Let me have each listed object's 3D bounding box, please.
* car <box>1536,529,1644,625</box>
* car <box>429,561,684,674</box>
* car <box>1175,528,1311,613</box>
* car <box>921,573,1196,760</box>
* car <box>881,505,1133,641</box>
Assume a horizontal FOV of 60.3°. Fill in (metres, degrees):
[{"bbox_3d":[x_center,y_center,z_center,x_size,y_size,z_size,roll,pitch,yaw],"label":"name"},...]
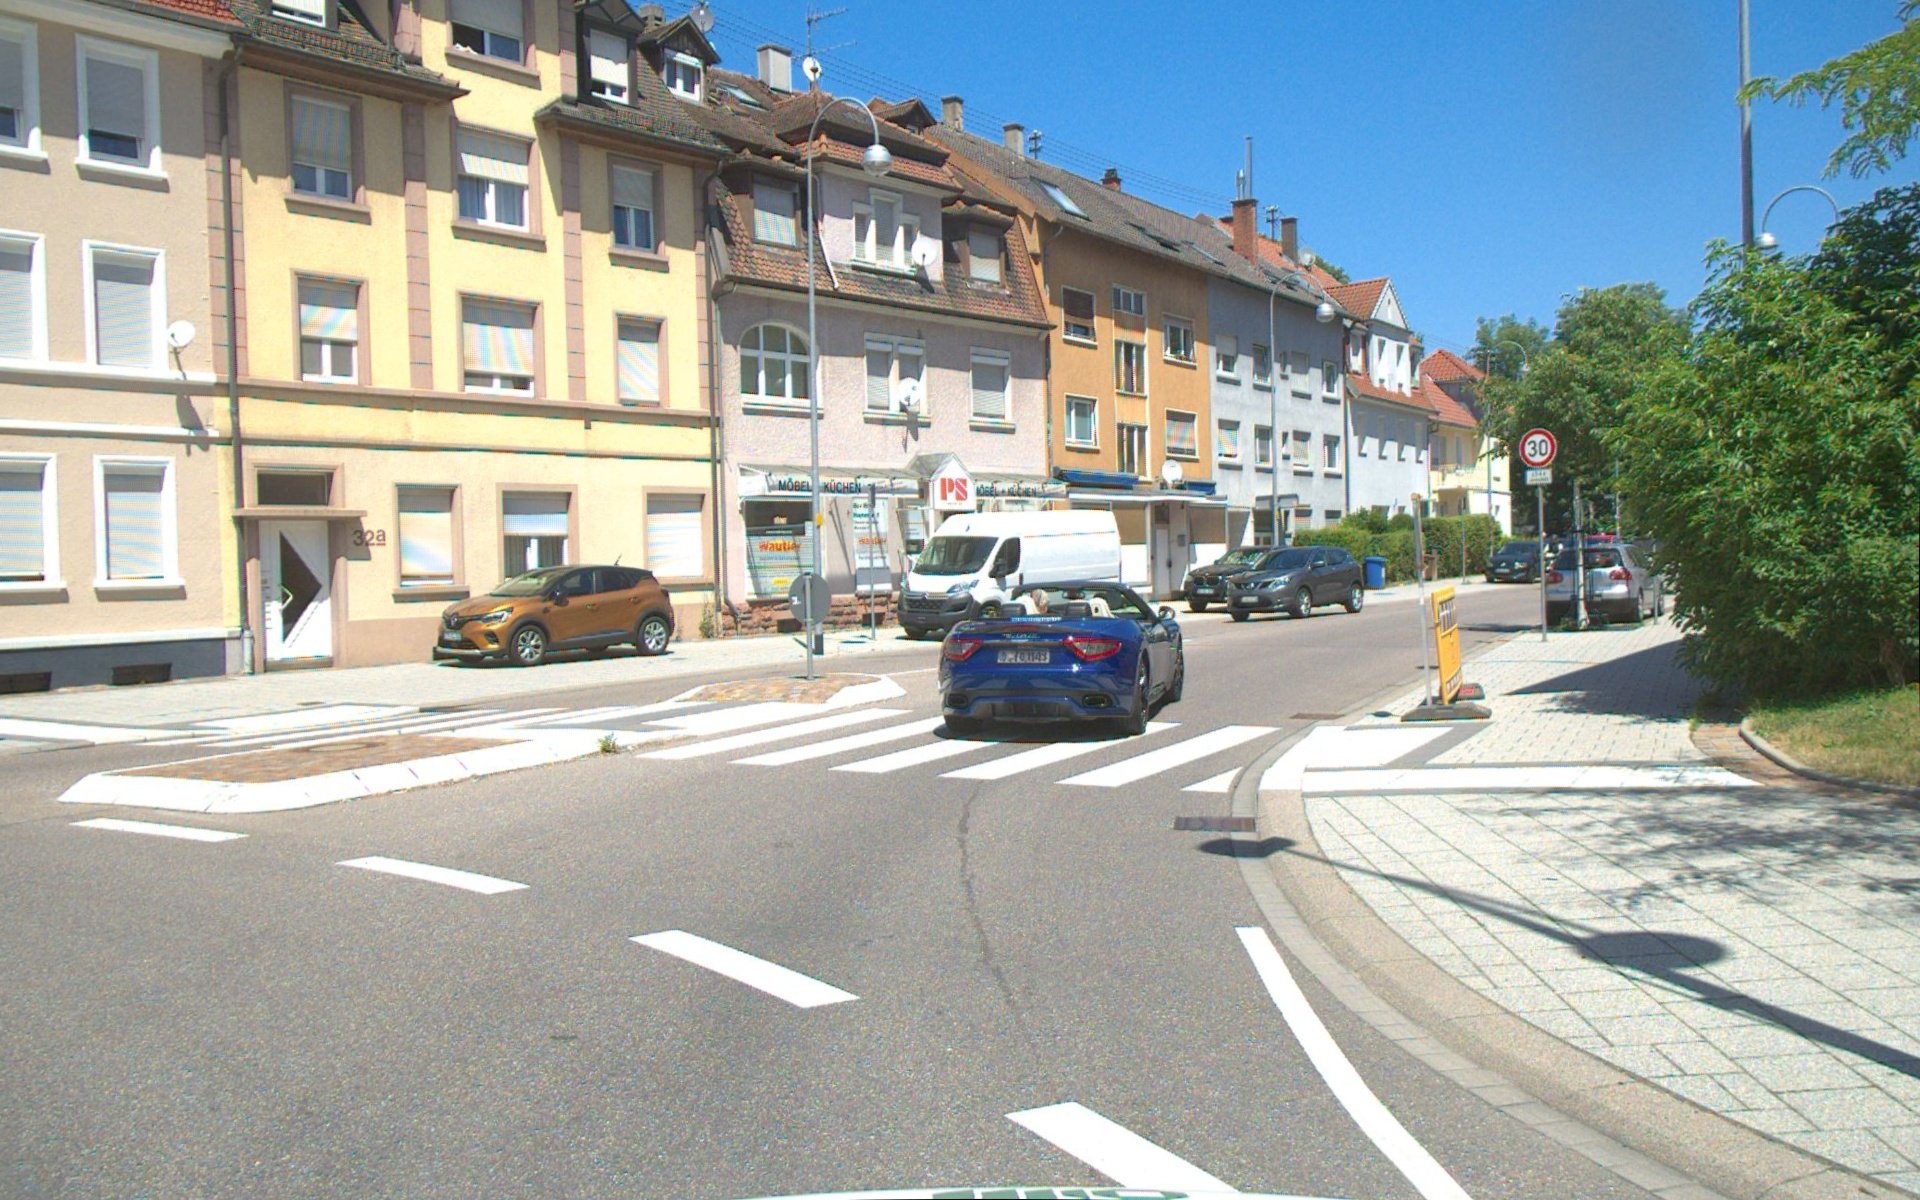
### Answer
[{"bbox_3d":[12.183,-0.486,32.018,1.840,1.659,3.592,-1,3,21],"label":"car"},{"bbox_3d":[-6.707,0.223,27.837,1.573,1.644,4.073,2,3,39],"label":"car"},{"bbox_3d":[7.432,-0.793,43.158,2.031,2.048,3.989,-2,1,33],"label":"car"},{"bbox_3d":[1.133,0.584,16.329,1.831,1.557,4.510,-2,-1,14],"label":"car"},{"bbox_3d":[1.131,-0.643,34.558,2.109,2.576,6.214,1,3,36],"label":"car"}]
